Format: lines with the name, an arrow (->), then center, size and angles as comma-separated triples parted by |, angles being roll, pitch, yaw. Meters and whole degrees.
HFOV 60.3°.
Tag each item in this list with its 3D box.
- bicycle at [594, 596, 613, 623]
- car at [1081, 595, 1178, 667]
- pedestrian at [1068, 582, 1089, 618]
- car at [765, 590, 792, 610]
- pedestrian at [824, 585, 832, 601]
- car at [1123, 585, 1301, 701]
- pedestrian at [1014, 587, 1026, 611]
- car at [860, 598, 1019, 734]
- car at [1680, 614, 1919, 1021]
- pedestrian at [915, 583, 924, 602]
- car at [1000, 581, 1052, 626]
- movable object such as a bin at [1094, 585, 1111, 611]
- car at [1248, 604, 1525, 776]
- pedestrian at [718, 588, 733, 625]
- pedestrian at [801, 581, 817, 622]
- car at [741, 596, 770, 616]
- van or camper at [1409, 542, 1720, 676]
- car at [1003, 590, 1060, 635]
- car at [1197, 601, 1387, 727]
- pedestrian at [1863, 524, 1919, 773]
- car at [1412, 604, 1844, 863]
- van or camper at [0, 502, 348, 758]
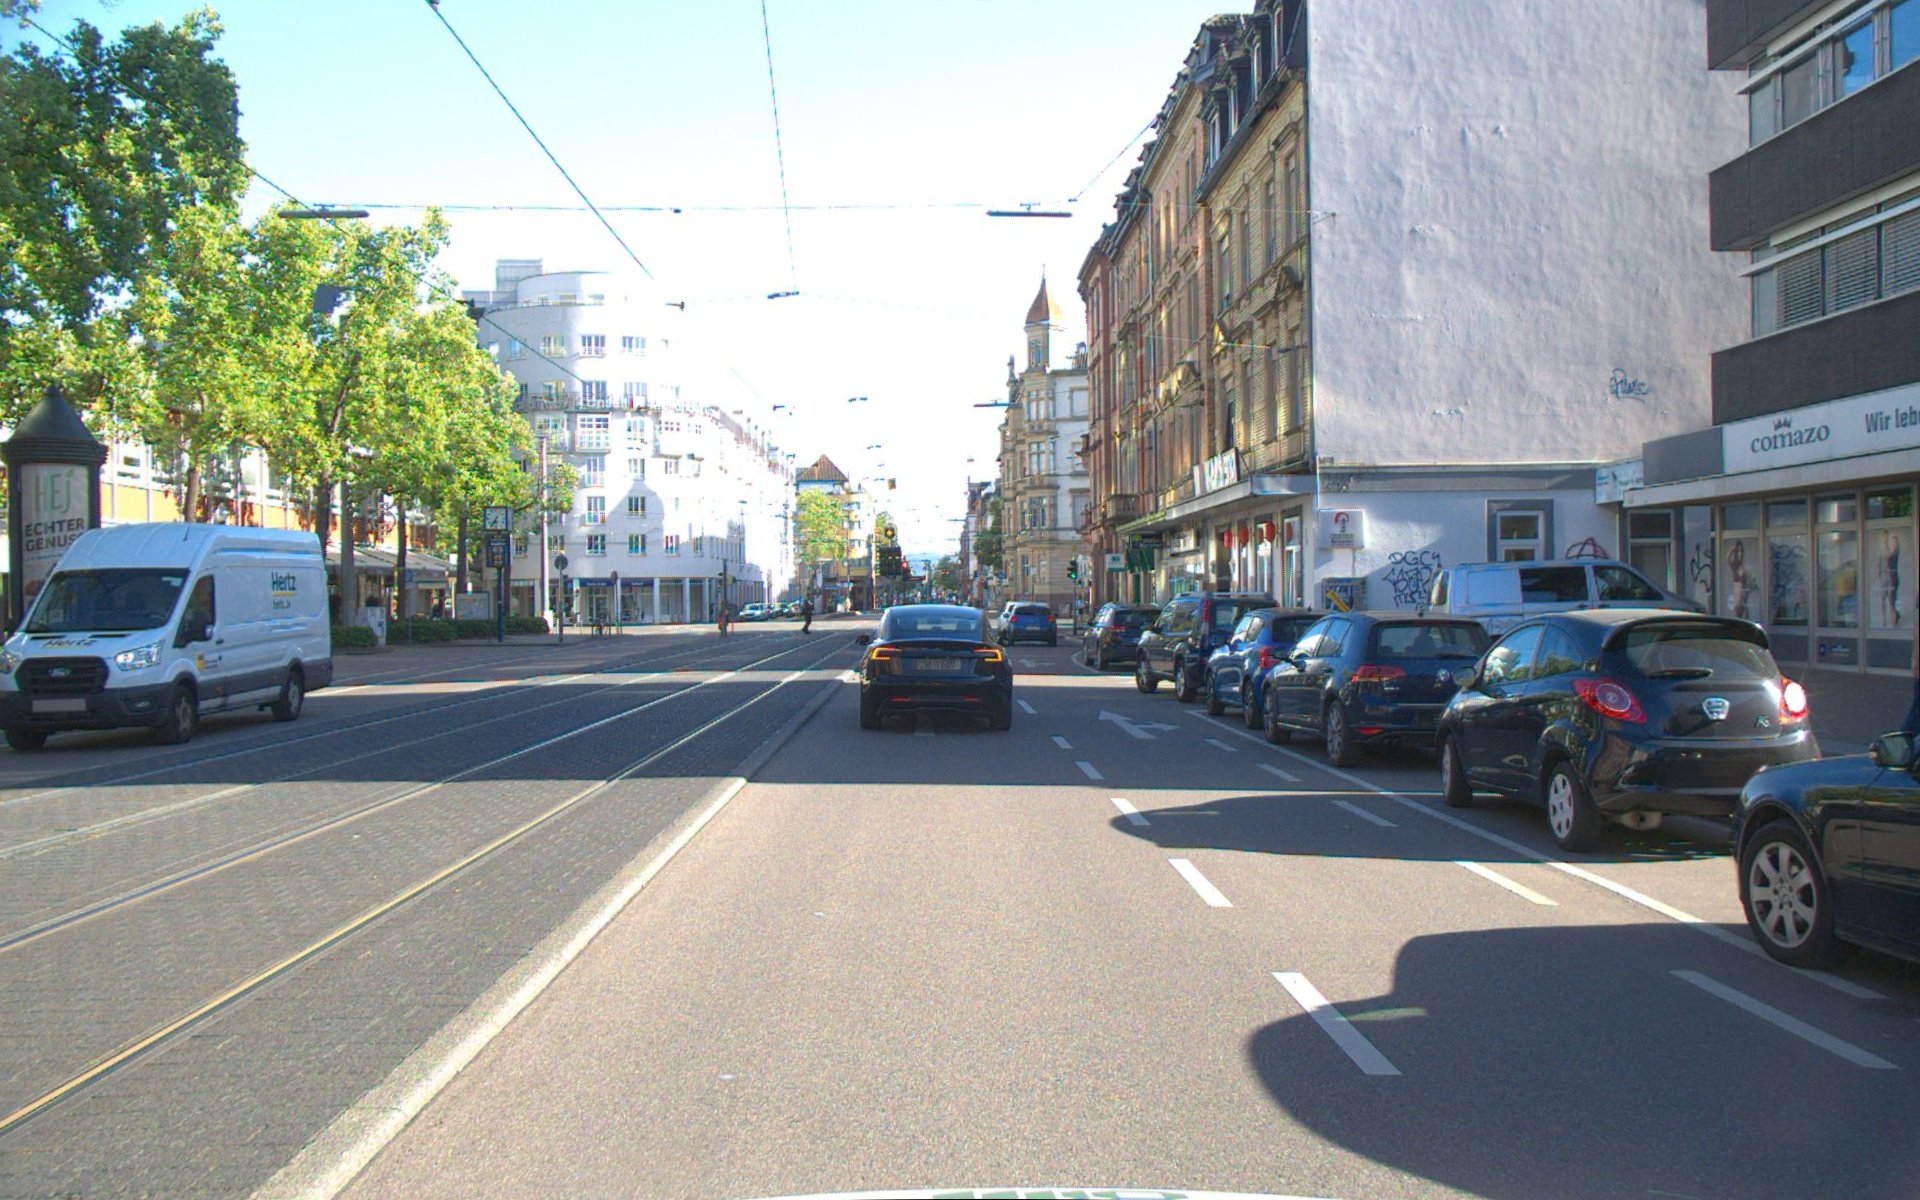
bicycle -> -16.919, 0.444, 78.430 | 0.487, 1.207, 2.234 | -1, 1, -3
car -> 3.836, 0.676, 38.021 | 1.656, 1.476, 4.359 | 1, 1, -1
pedestrian -> 5.535, -0.005, 77.223 | 0.672, 1.635, 0.725 | -1, 1, -25
car -> -17.828, -0.032, 162.643 | 2.182, 1.944, 4.607 | 0, 1, -2
pedestrian -> -12.772, -0.668, 160.006 | 0.716, 1.554, 0.743 | 0, 1, -2
car -> 4.075, 0.636, 27.462 | 1.658, 1.743, 4.607 | 1, 0, -8
pedestrian -> 4.423, -0.082, 121.960 | 0.764, 1.780, 1.093 | 0, 2, -4
car -> -0.274, 0.744, 20.728 | 1.774, 1.448, 4.153 | 1, 1, -1
car -> 4.427, 0.817, 5.649 | 1.694, 1.509, 4.927 | 1, -1, -1
pedestrian -> -3.874, -0.721, 157.638 | 0.704, 1.808, 0.563 | 0, 1, 35
car -> 2.723, 0.150, 68.946 | 1.953, 1.773, 3.999 | 1, 0, -1
movable object such as a bin -> 6.222, -0.091, 72.316 | 0.649, 1.091, 0.591 | -4, 0, 1
car -> 4.237, 0.824, 17.103 | 1.664, 1.509, 4.225 | 1, 0, -1
pedestrian -> -10.066, 0.289, 71.006 | 0.489, 1.544, 0.859 | -2, 1, -1
pedestrian -> -6.751, 0.047, 73.915 | 0.546, 1.794, 0.895 | -2, 1, -1
car -> -16.797, 0.481, 136.033 | 1.954, 1.477, 4.500 | -1, 1, -3
van or camper -> 10.374, 0.143, 28.650 | 4.595, 1.966, 2.001 | -3, 1, 2
car -> 2.464, 0.407, 57.453 | 1.745, 1.476, 3.654 | 1, 1, -1
car -> 4.311, 0.781, 22.009 | 1.679, 1.480, 3.777 | 1, 0, -1
pedestrian -> 7.861, 0.386, 13.256 | 0.670, 1.945, 1.063 | 1, 0, 2
car -> 4.492, 0.806, 11.694 | 1.539, 1.509, 3.556 | 1, 0, -1
van or camper -> -10.250, 0.279, 21.851 | 1.996, 2.786, 7.016 | -2, 1, -3
